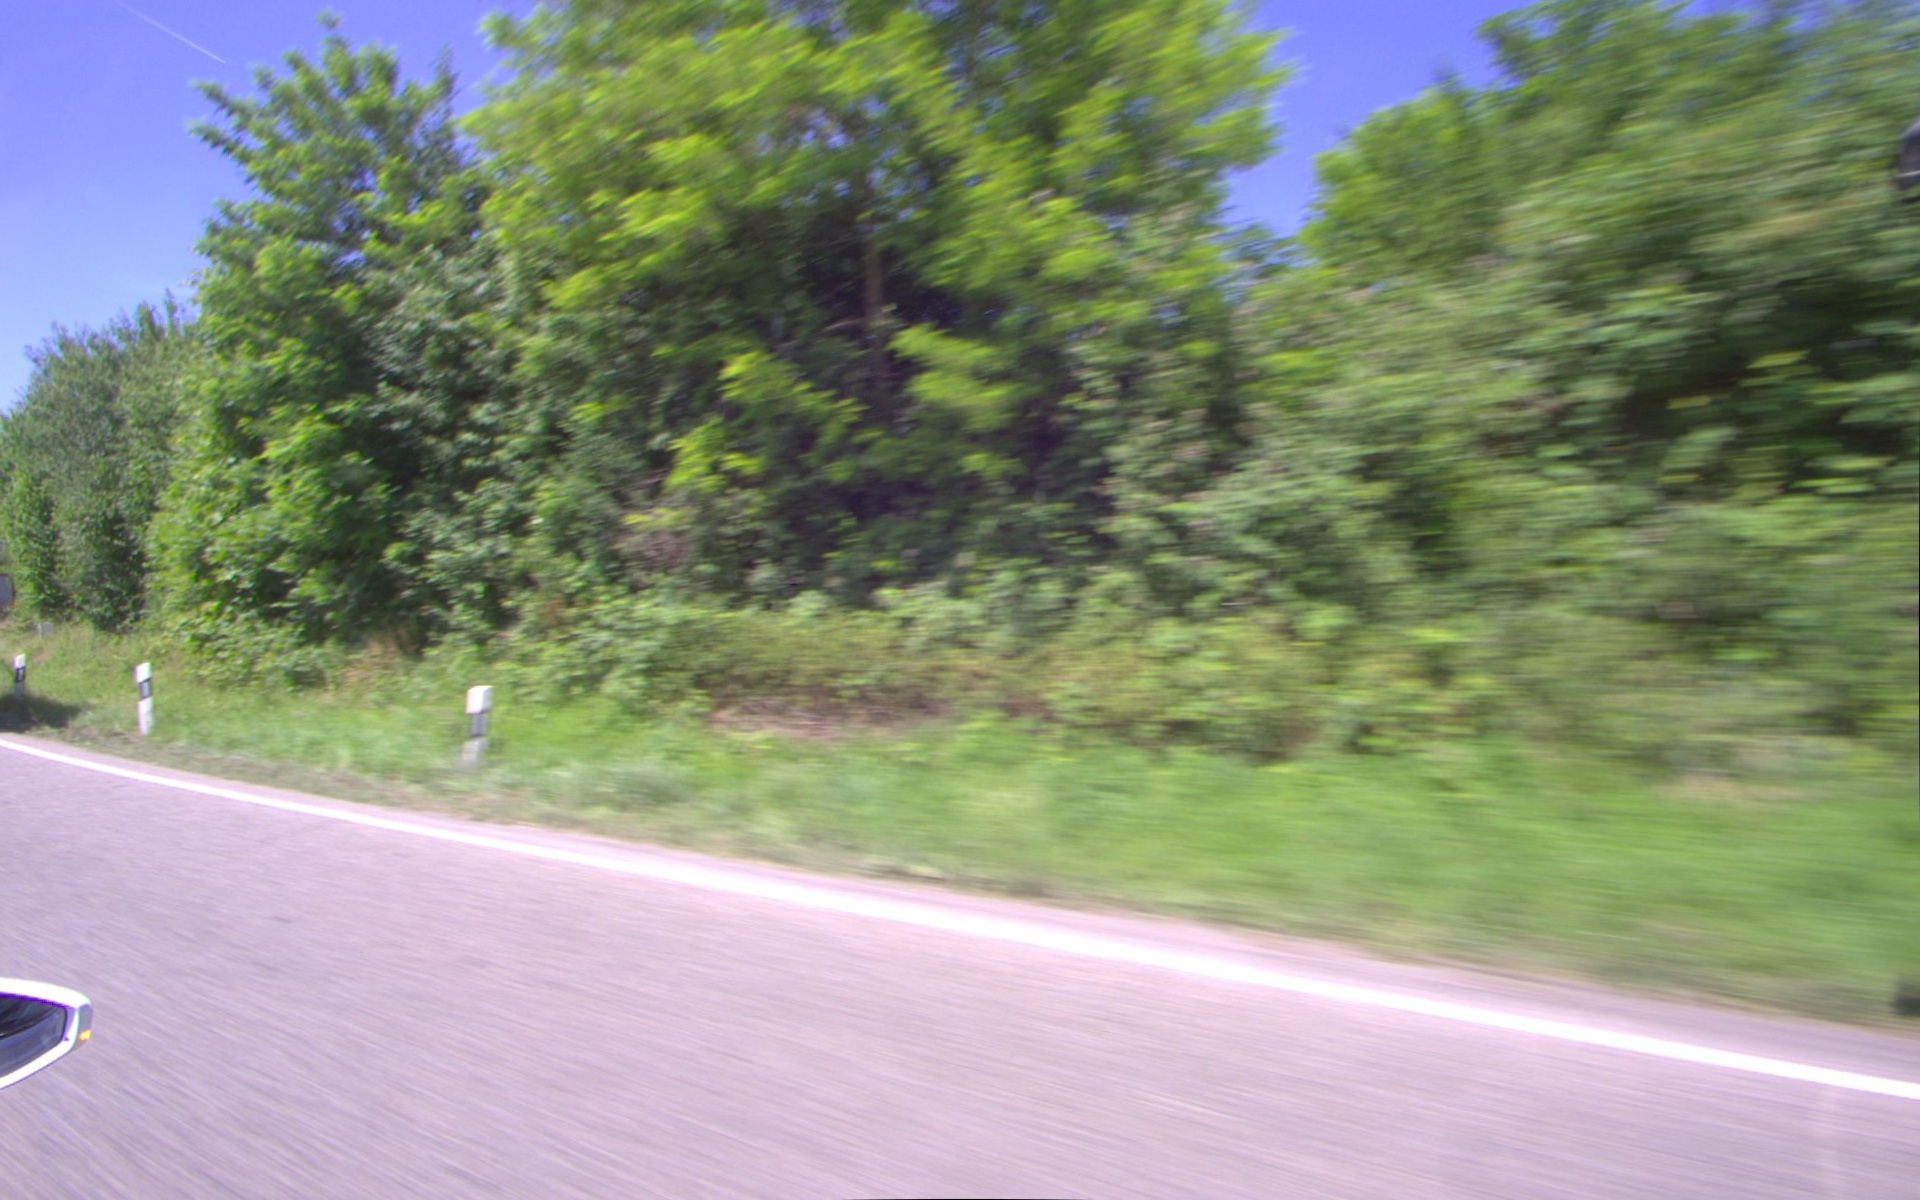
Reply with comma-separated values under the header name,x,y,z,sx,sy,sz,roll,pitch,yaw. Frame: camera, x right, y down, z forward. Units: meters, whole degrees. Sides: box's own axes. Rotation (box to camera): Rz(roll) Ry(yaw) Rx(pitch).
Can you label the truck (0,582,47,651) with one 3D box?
name,x,y,z,sx,sy,sz,roll,pitch,yaw
truck,-57.447,0.998,60.014,2.896,3.766,13.256,-1,0,-38
